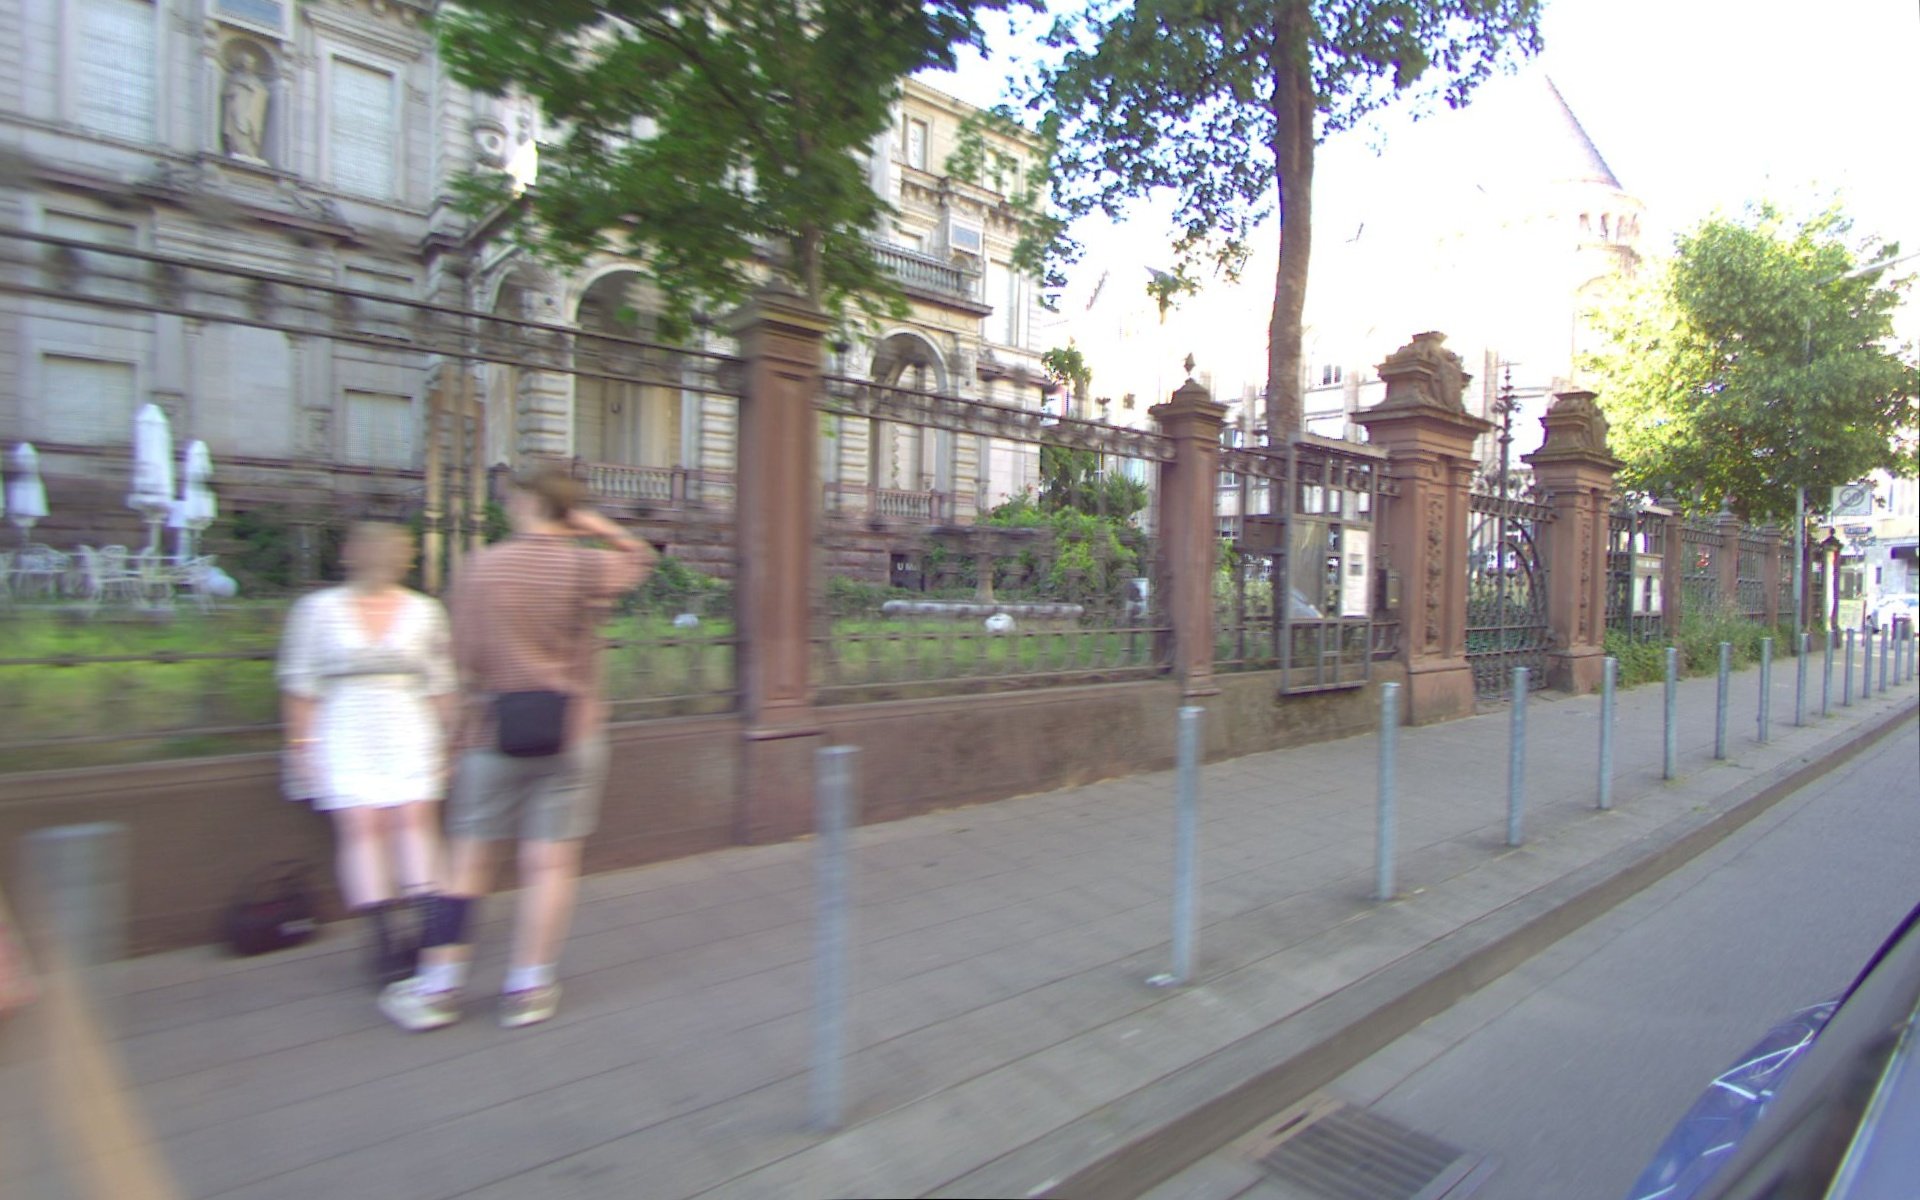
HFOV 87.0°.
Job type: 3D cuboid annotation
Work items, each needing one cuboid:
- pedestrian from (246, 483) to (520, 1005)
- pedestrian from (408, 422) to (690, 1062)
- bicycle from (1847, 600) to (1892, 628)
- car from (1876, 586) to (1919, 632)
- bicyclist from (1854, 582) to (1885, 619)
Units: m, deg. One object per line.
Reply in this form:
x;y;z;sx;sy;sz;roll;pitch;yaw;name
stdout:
-1.952;0.397;3.406;0.750;1.518;0.609;4;3;44;pedestrian
-1.225;0.362;3.029;0.484;1.678;0.609;4;3;42;pedestrian
40.399;0.608;44.972;0.656;1.152;1.815;1;2;14;bicycle
32.250;0.293;33.408;1.983;1.440;4.413;1;1;29;car
40.391;0.021;44.969;0.650;1.590;0.860;0;1;12;bicyclist
